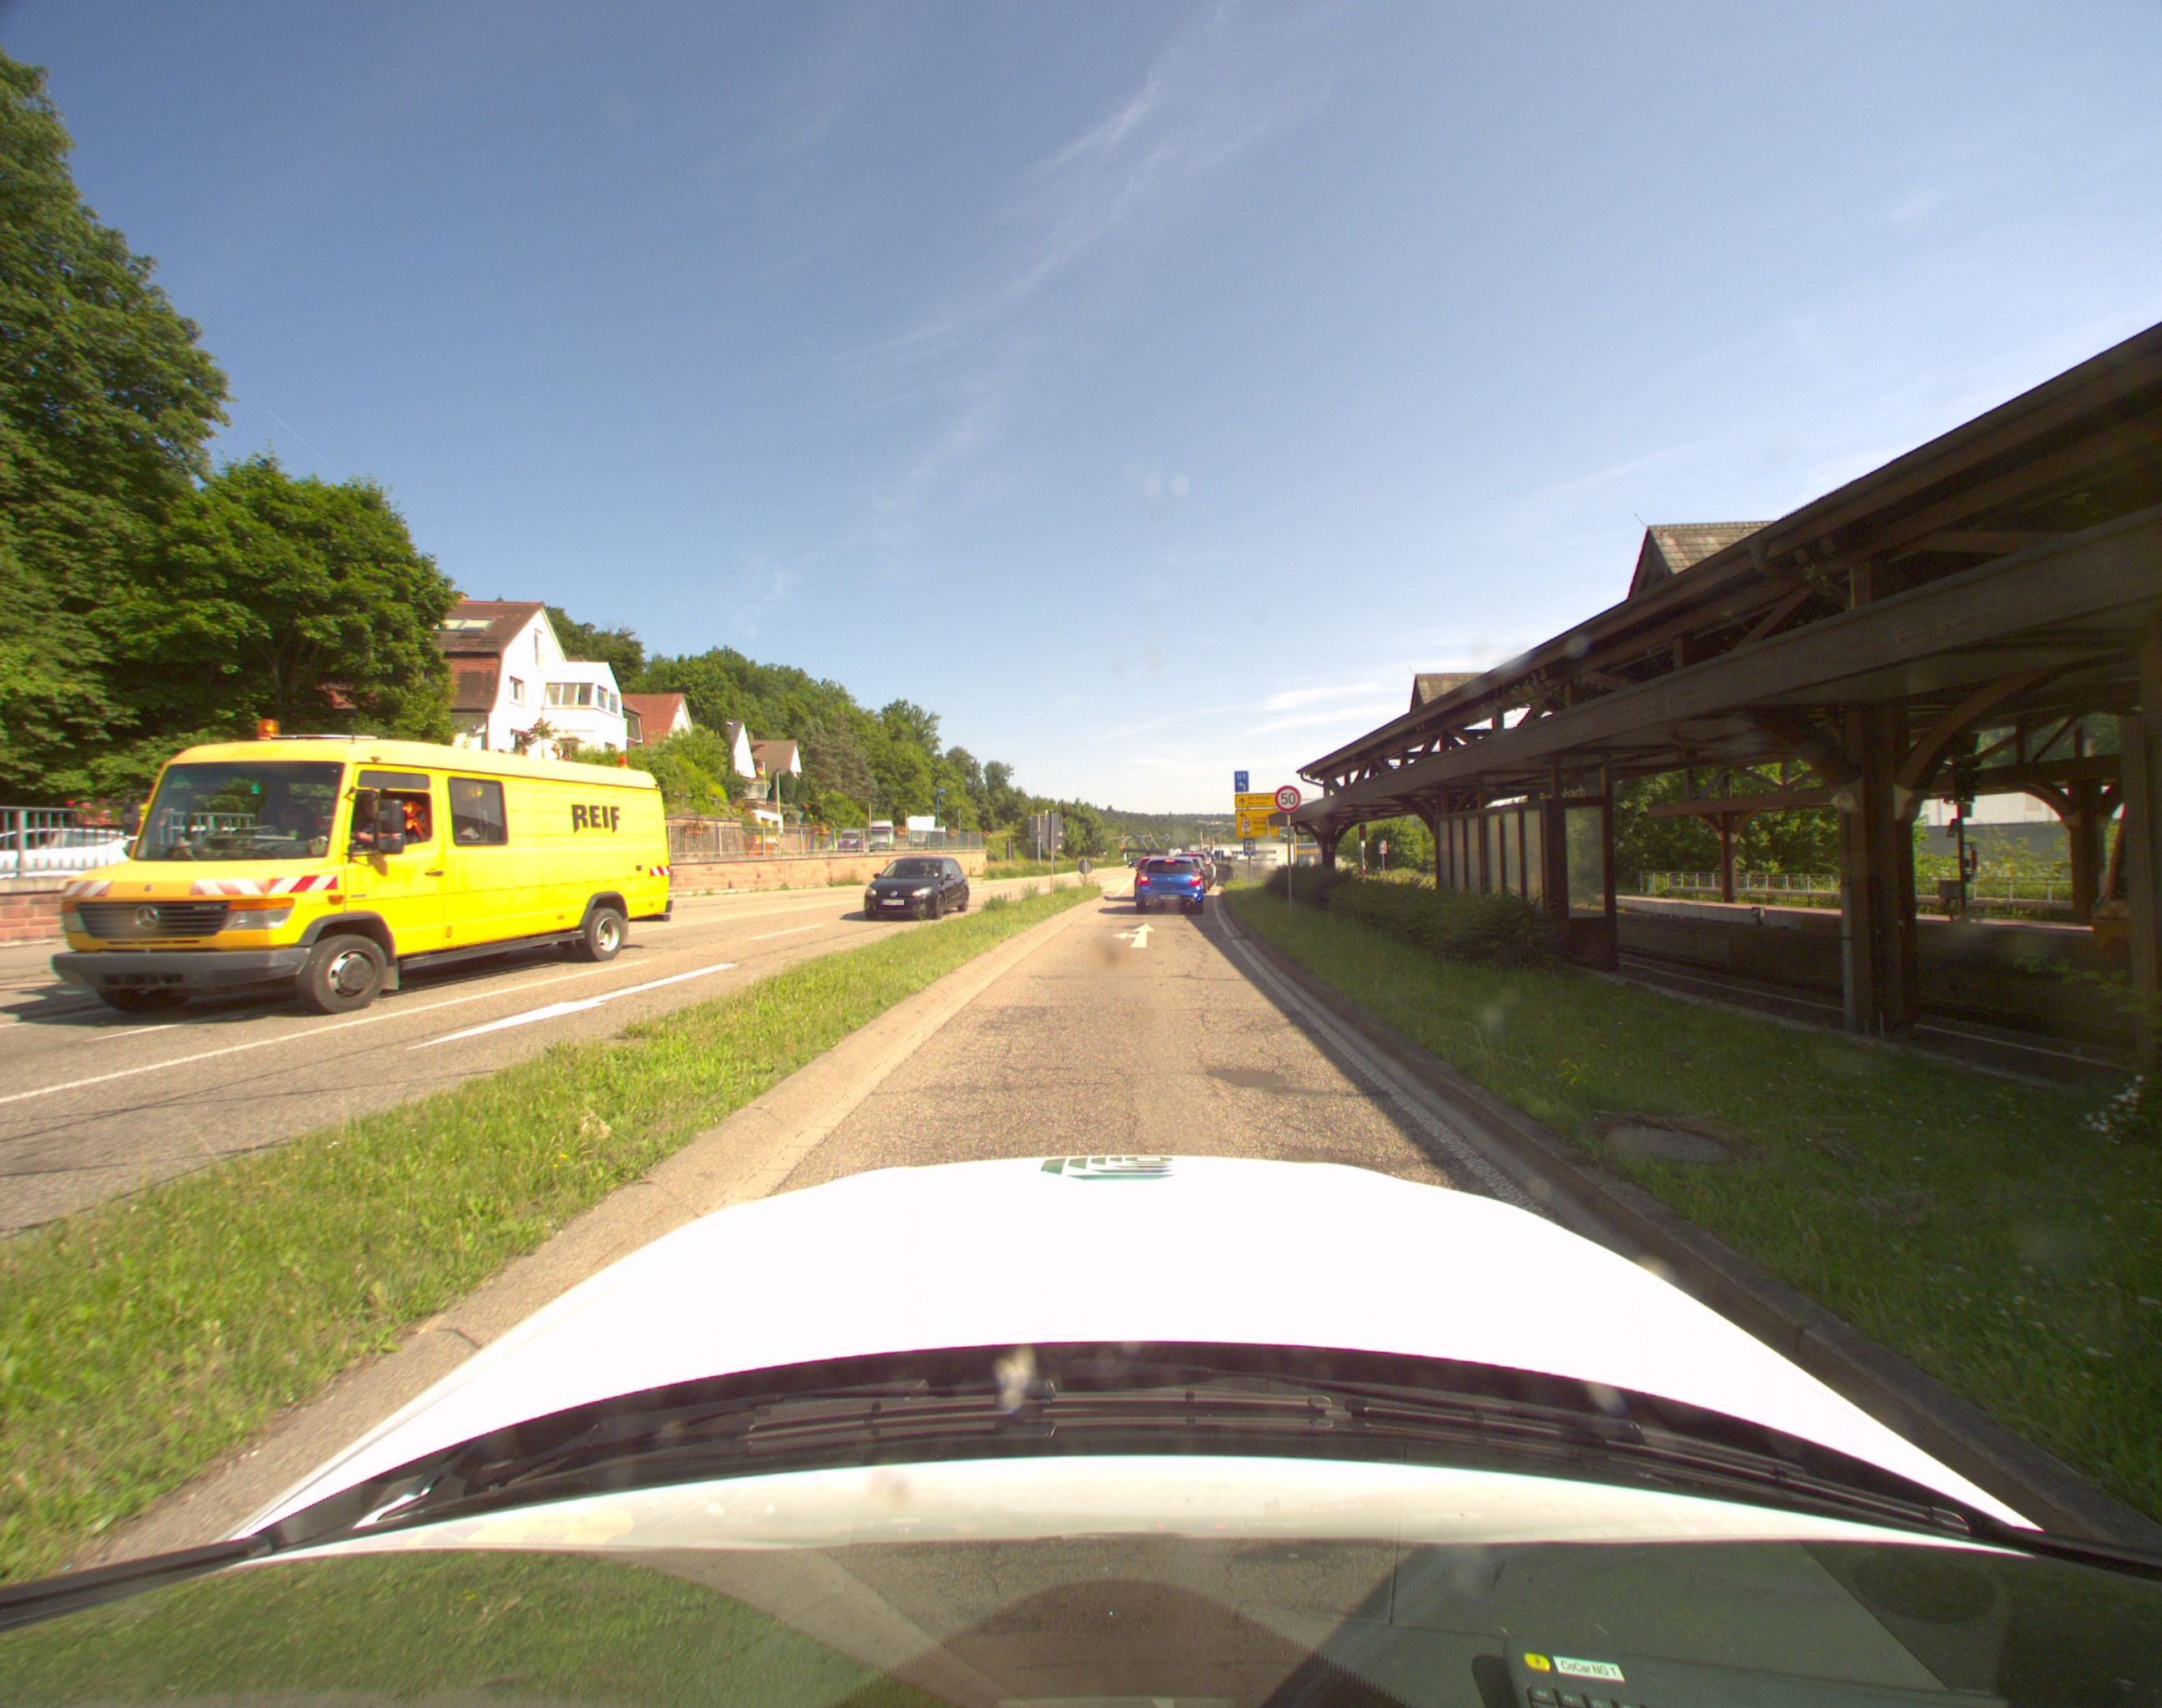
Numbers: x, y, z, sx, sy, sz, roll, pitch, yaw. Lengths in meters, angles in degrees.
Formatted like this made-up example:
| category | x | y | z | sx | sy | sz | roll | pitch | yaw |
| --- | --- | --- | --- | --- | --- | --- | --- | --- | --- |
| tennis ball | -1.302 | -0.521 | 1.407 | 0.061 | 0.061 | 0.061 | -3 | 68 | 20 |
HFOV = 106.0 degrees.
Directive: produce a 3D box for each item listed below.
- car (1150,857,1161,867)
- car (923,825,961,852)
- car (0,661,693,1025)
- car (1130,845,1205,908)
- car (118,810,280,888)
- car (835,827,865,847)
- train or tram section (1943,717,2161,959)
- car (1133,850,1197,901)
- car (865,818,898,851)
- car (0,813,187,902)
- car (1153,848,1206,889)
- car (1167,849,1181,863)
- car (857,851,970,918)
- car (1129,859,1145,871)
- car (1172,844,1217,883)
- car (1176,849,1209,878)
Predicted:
| category | x | y | z | sx | sy | sz | roll | pitch | yaw |
| --- | --- | --- | --- | --- | --- | --- | --- | --- | --- |
| car | 14.190 | 1.513 | 155.242 | 1.983 | 1.783 | 4.007 | 1 | 0 | 6 |
| car | -10.636 | -1.172 | 62.535 | 2.014 | 1.920 | 4.731 | 2 | 1 | 0 |
| car | -7.798 | -0.107 | 10.098 | 2.456 | 3.011 | 6.472 | 1 | 0 | 4 |
| car | 2.369 | 0.547 | 22.314 | 1.859 | 1.548 | 4.007 | 1 | 0 | 6 |
| car | -23.880 | -0.175 | 22.037 | 3.950 | 1.875 | 1.925 | 2 | 1 | 27 |
| car | -19.244 | -1.390 | 67.970 | 1.894 | 1.629 | 3.987 | 0 | 0 | -9 |
| train or tram section | 16.268 | -0.155 | 8.211 | 2.745 | 3.364 | 12.056 | 2 | 1 | 2 |
| car | 2.967 | 0.695 | 27.962 | 1.982 | 1.571 | 4.009 | 1 | 0 | 8 |
| car | -15.680 | -1.572 | 64.140 | 2.093 | 2.444 | 5.766 | 2 | 1 | -10 |
| car | -22.288 | 0.071 | 17.419 | 1.897 | 1.789 | 4.025 | 0 | 0 | 34 |
| car | 4.076 | 0.546 | 33.152 | 1.982 | 1.531 | 4.612 | 0 | 0 | 8 |
| car | 14.453 | 0.321 | 126.253 | 1.983 | 2.144 | 4.728 | 1 | 0 | 7 |
| car | -3.977 | 0.668 | 20.013 | 1.738 | 1.462 | 4.047 | 0 | 0 | 3 |
| car | 7.545 | 1.456 | 109.326 | 1.781 | 1.470 | 4.728 | 0 | 0 | 9 |
| car | 5.463 | 0.417 | 39.133 | 1.982 | 1.686 | 4.507 | 2 | 0 | 8 |
| car | 7.275 | 0.580 | 53.041 | 1.982 | 1.736 | 4.009 | 2 | 0 | 8 |
